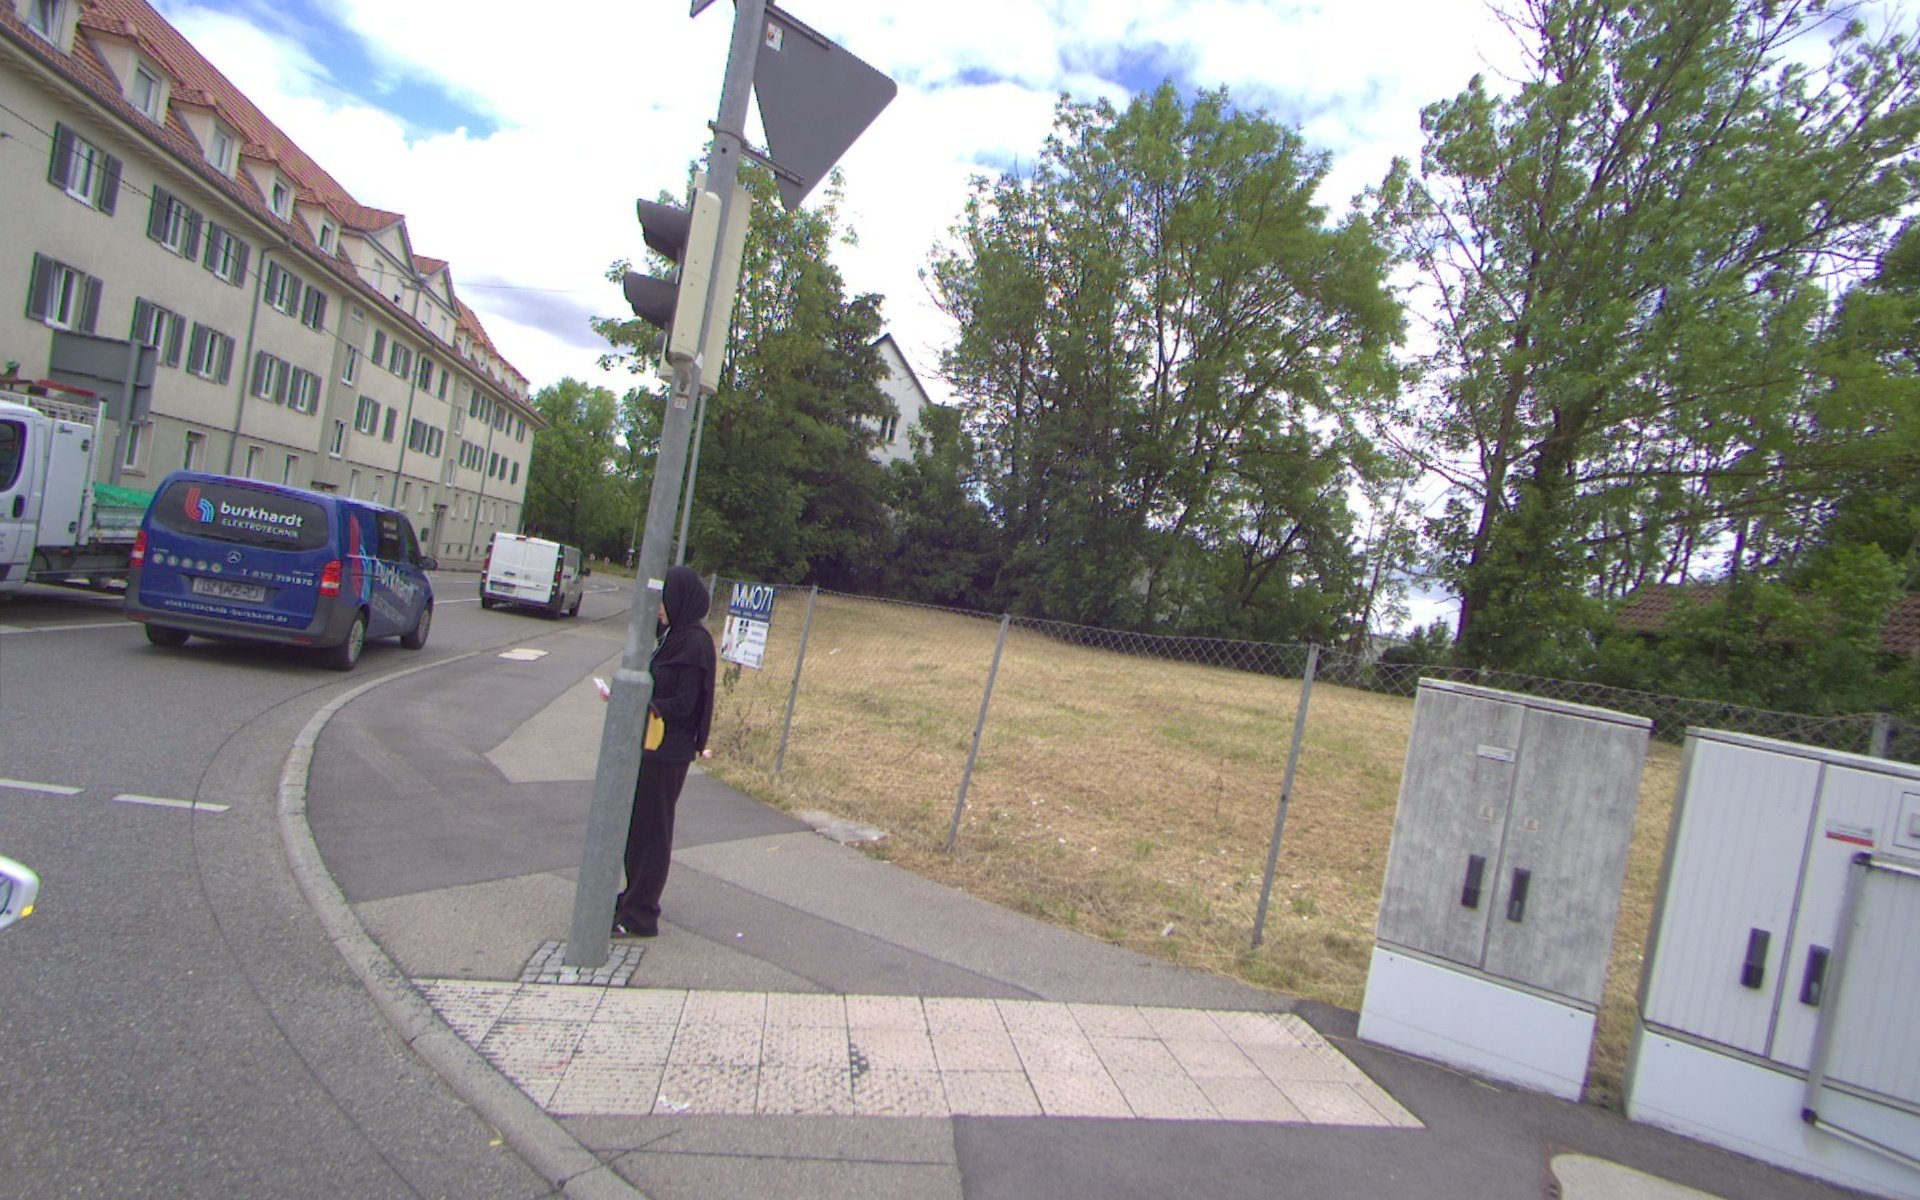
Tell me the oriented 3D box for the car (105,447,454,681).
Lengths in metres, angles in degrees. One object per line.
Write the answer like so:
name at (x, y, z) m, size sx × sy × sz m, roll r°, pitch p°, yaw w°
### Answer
car at (-7.667, -0.396, 11.957) m, size 1.925 × 1.989 × 4.524 m, roll 8°, pitch 0°, yaw -16°

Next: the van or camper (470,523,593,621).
van or camper at (-11.316, -0.707, 26.941) m, size 1.971 × 2.036 × 5.082 m, roll 10°, pitch -2°, yaw -14°

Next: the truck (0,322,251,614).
truck at (-10.402, -1.374, 10.822) m, size 1.969 × 2.732 × 6.392 m, roll 8°, pitch -1°, yaw -13°

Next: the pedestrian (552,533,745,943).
pedestrian at (-1.321, 0.567, 4.341) m, size 0.599 × 1.618 × 0.604 m, roll 6°, pitch 1°, yaw -14°
